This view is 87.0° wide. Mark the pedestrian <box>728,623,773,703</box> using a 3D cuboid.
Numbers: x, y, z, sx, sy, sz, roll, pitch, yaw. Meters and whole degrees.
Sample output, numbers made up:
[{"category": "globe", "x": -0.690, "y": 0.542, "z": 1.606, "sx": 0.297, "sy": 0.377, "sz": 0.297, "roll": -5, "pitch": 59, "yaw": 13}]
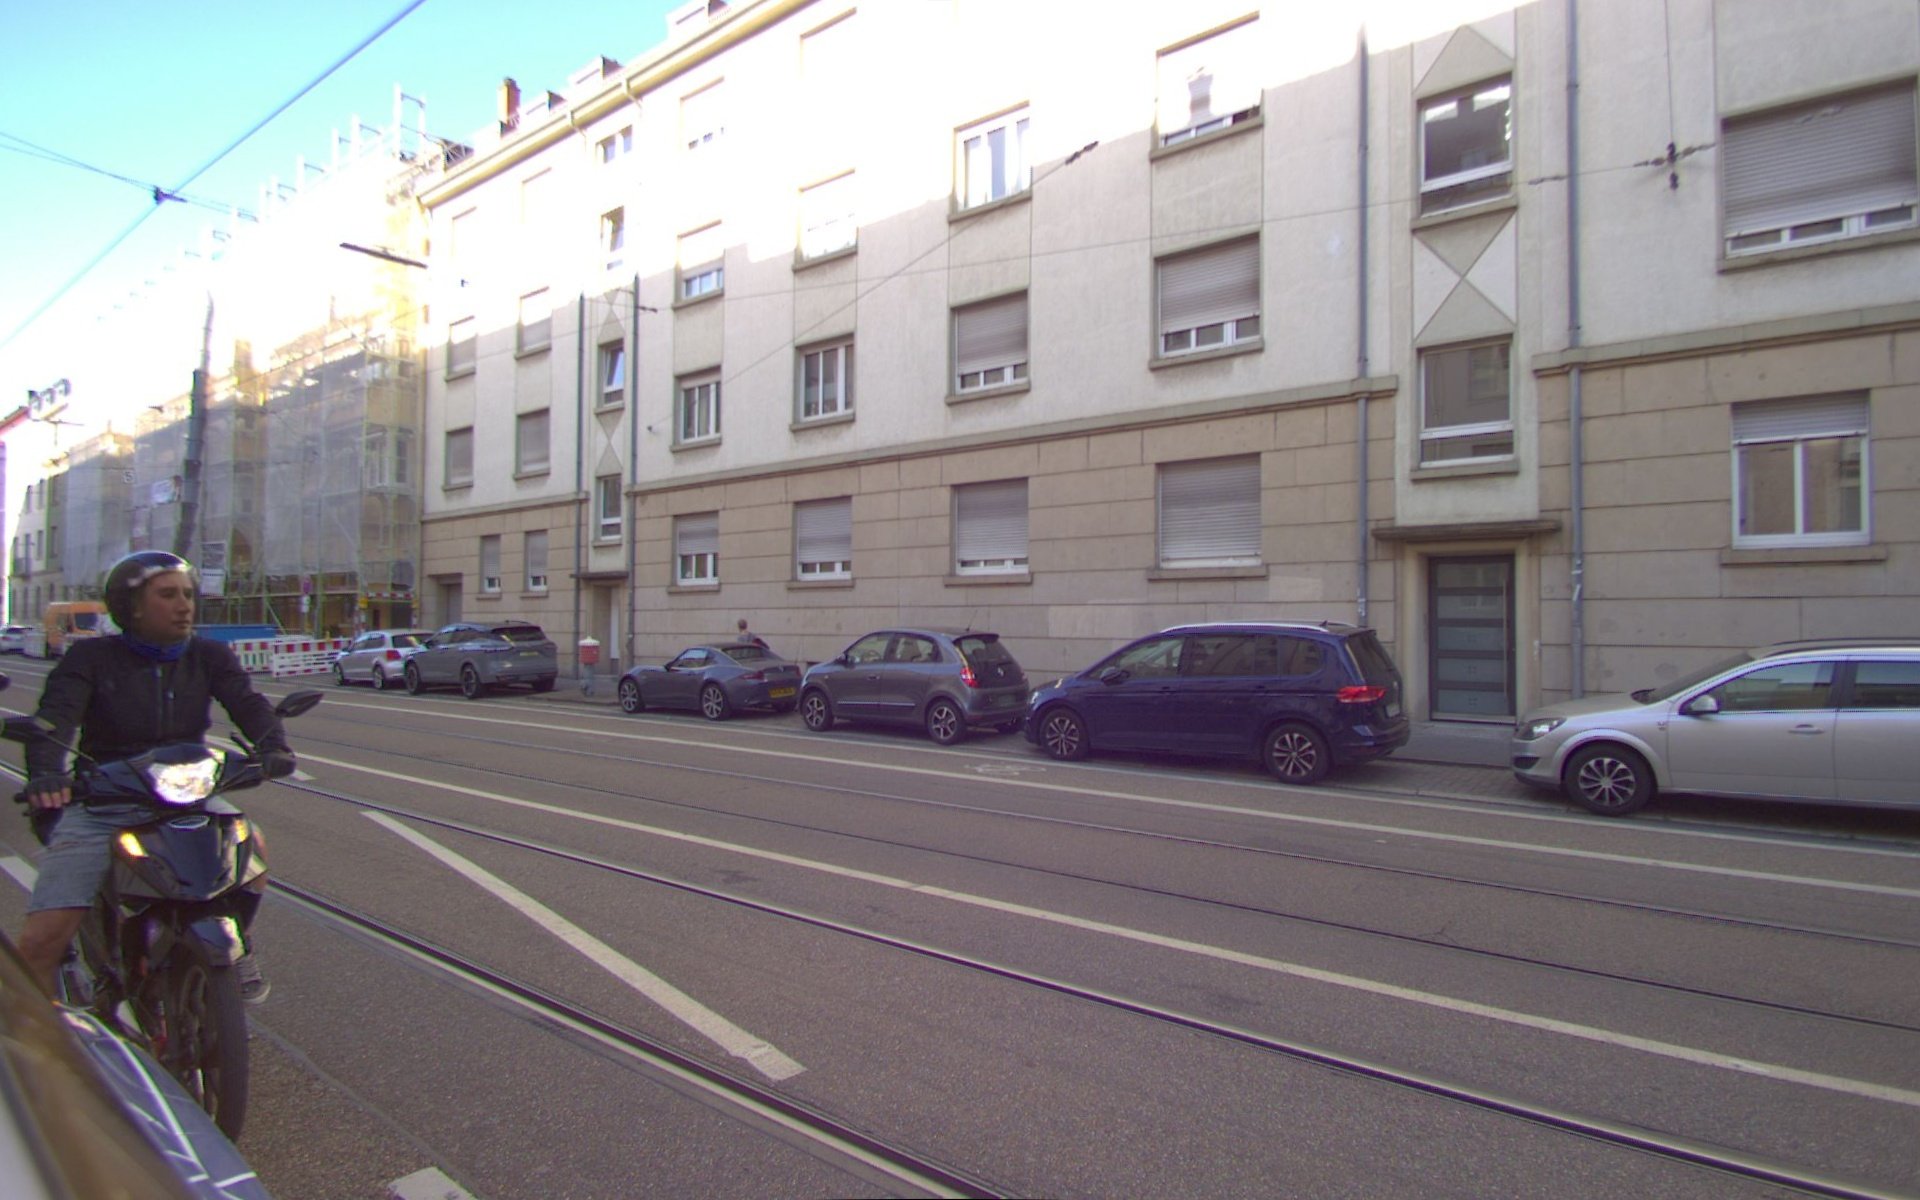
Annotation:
[{"category": "pedestrian", "x": -4.179, "y": 1.246, "z": 20.164, "sx": 0.693, "sy": 1.553, "sz": 0.563, "roll": -2, "pitch": -3, "yaw": 39}]

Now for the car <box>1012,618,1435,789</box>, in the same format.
[{"category": "car", "x": 2.896, "y": 1.033, "z": 11.671, "sx": 4.383, "sy": 1.611, "sz": 1.779, "roll": -1, "pitch": -1, "yaw": 38}]

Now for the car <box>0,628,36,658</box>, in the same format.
[{"category": "car", "x": -50.064, "y": 2.271, "z": 53.333, "sx": 3.964, "sy": 1.498, "sz": 1.662, "roll": -2, "pitch": -1, "yaw": 42}]

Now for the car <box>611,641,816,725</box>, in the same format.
[{"category": "car", "x": -4.311, "y": 1.366, "z": 17.495, "sx": 3.681, "sy": 1.244, "sz": 1.502, "roll": -1, "pitch": -1, "yaw": 38}]

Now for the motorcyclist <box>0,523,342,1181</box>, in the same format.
[{"category": "motorcyclist", "x": -2.538, "y": 0.655, "z": 3.155, "sx": 0.899, "sy": 1.668, "sz": 0.781, "roll": -2, "pitch": -3, "yaw": 41}]

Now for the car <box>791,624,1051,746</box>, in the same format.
[{"category": "car", "x": -0.625, "y": 1.133, "z": 14.649, "sx": 3.535, "sy": 1.539, "sz": 1.659, "roll": -1, "pitch": -1, "yaw": 38}]

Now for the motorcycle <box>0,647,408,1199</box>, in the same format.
[{"category": "motorcycle", "x": -2.635, "y": 0.817, "z": 3.232, "sx": 2.272, "sy": 1.302, "sz": 0.781, "roll": -2, "pitch": -3, "yaw": 41}]

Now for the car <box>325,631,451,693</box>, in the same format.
[{"category": "car", "x": -14.381, "y": 1.499, "z": 25.391, "sx": 3.506, "sy": 1.423, "sz": 1.524, "roll": -1, "pitch": -1, "yaw": 38}]

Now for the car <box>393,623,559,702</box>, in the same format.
[{"category": "car", "x": -10.880, "y": 1.334, "z": 22.654, "sx": 4.201, "sy": 1.611, "sz": 1.675, "roll": -1, "pitch": -1, "yaw": 38}]

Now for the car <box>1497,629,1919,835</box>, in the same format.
[{"category": "car", "x": 7.130, "y": 1.003, "z": 8.497, "sx": 4.383, "sy": 1.489, "sz": 1.779, "roll": -1, "pitch": -1, "yaw": 38}]

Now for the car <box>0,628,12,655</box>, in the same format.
[{"category": "car", "x": -54.580, "y": 2.327, "z": 56.809, "sx": 3.964, "sy": 1.498, "sz": 1.662, "roll": -2, "pitch": -1, "yaw": 42}]
